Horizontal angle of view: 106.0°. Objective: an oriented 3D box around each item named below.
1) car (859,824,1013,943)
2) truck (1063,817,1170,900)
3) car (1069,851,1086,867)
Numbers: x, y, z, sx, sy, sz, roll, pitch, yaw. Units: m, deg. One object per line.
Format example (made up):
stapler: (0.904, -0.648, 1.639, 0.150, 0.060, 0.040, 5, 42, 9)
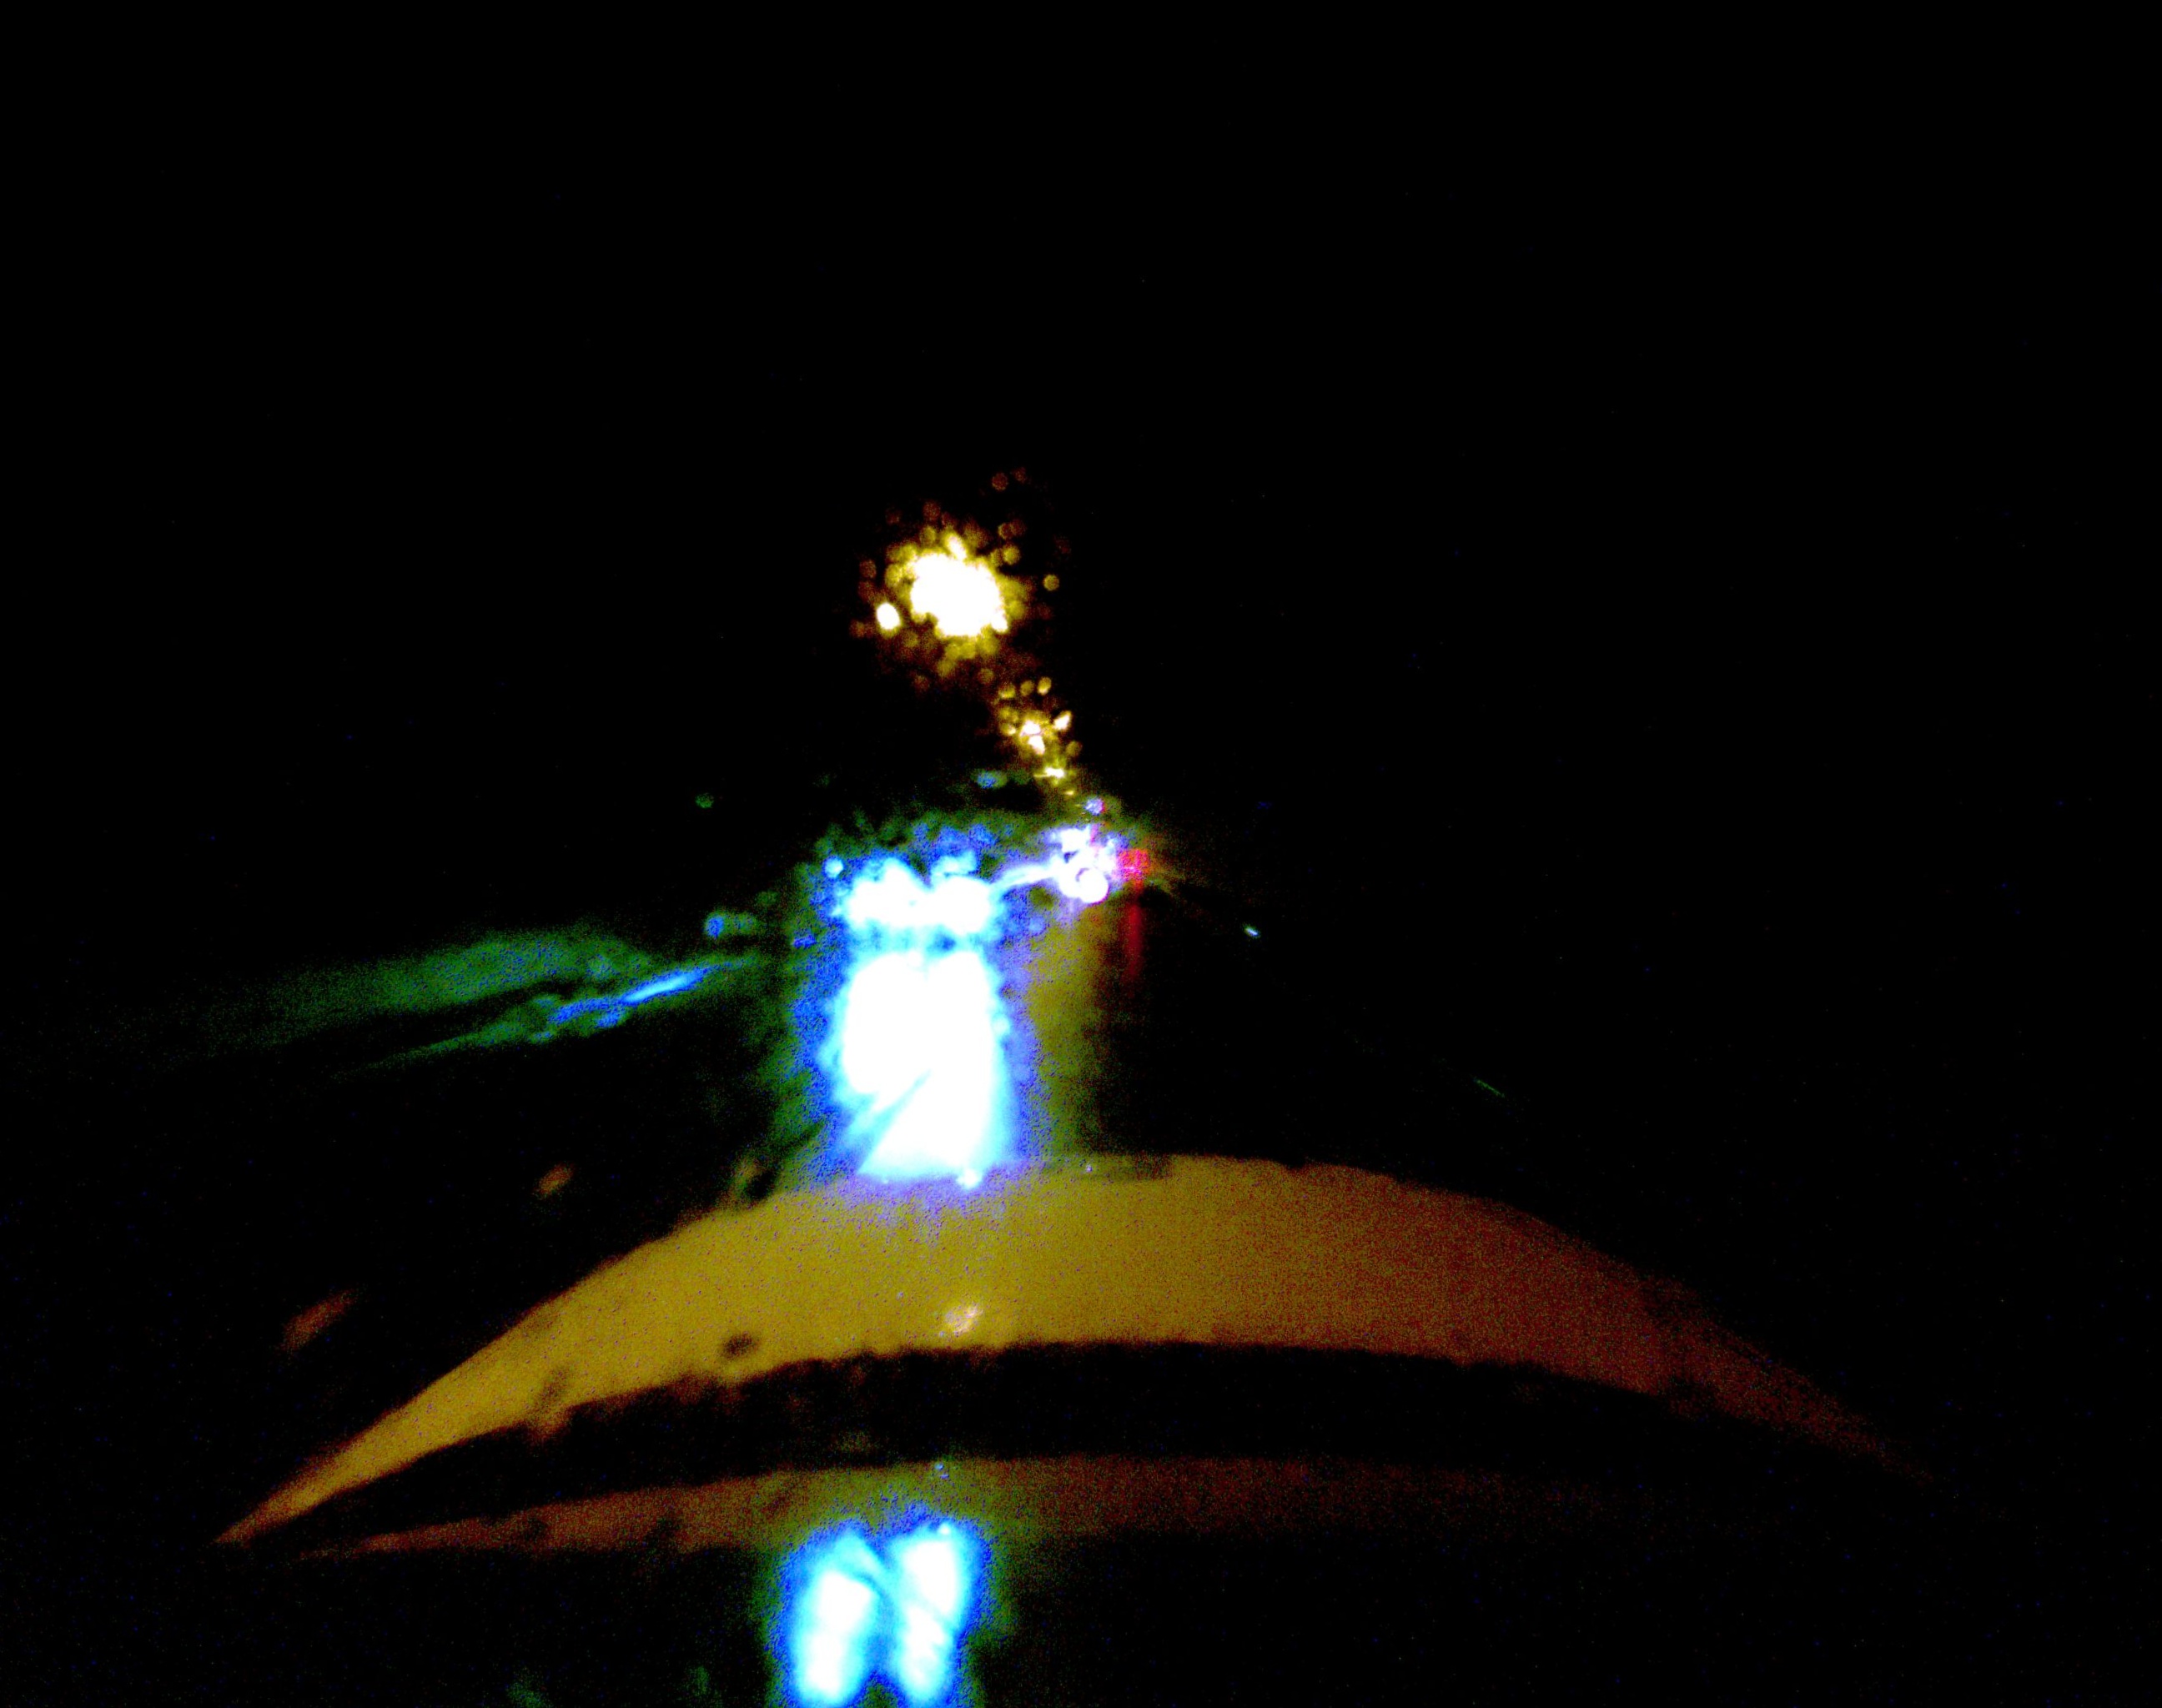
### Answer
car: (-2.685, 0.513, 16.280, 2.077, 2.013, 4.562, -1, 0, 2)
truck: (1.329, 0.186, 31.759, 3.521, 2.693, 8.959, -1, 0, 2)
car: (-0.348, 0.558, 88.905, 1.592, 1.613, 3.998, -1, 0, 2)
